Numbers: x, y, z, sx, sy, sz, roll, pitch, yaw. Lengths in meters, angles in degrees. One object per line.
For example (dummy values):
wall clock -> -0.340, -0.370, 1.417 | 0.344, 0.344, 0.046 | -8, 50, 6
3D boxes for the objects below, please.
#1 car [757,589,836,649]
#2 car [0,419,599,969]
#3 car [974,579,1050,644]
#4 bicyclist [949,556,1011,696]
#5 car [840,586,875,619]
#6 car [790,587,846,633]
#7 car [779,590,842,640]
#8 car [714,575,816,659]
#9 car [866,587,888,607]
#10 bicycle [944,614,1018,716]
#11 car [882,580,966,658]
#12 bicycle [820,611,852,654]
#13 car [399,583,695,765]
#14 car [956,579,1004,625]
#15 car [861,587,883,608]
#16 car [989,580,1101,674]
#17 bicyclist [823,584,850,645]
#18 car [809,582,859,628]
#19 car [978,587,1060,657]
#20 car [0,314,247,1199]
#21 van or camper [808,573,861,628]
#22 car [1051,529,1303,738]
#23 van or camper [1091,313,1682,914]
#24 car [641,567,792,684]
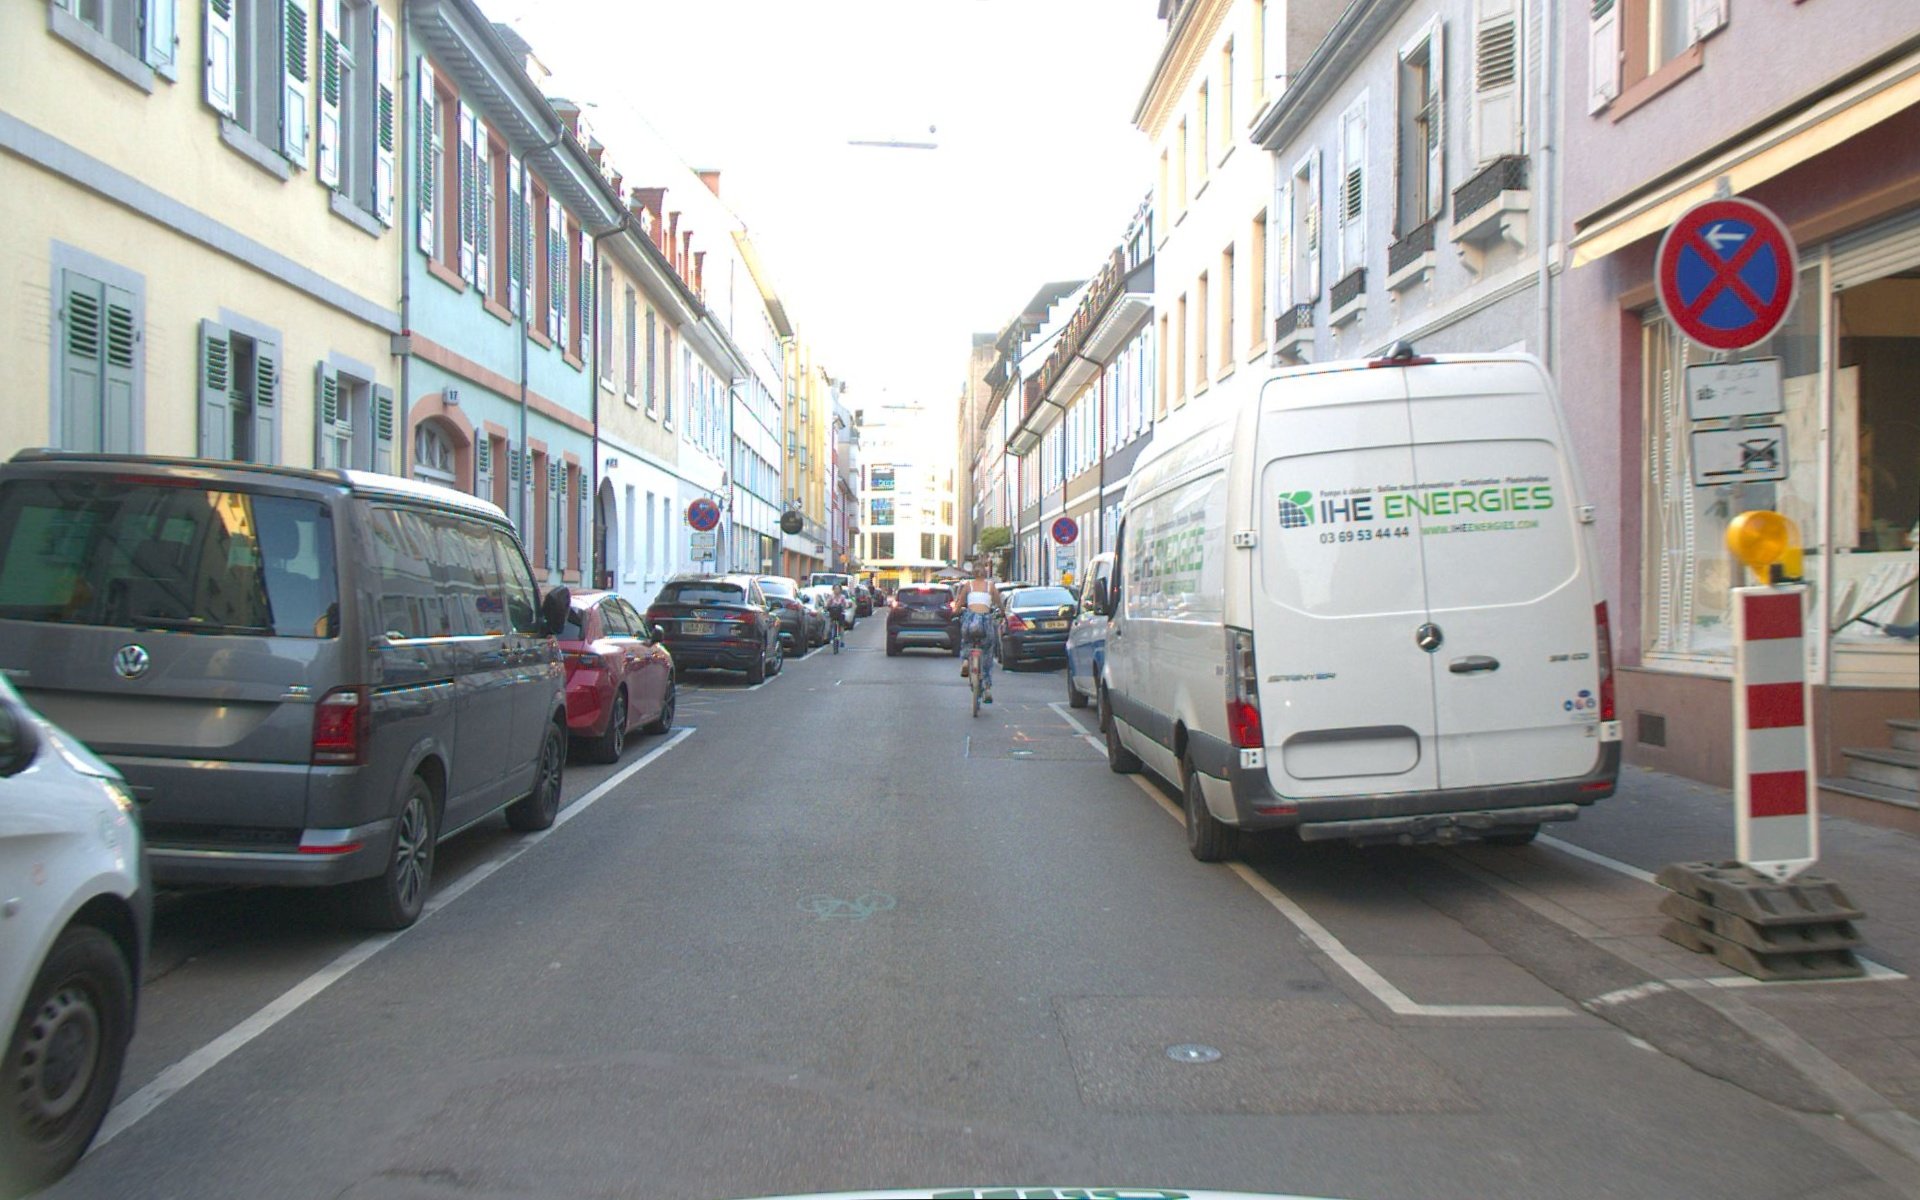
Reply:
car -> -4.293, 0.469, 44.046 | 1.880, 1.459, 4.291 | 2, 0, -3
car -> -3.203, 0.330, 8.599 | 1.825, 2.049, 4.811 | 0, 0, -3
car -> 1.487, 0.316, 48.907 | 1.880, 1.768, 4.151 | 2, 0, -3
bicyclist -> 0.230, 0.297, 19.246 | 0.609, 1.602, 0.682 | 1, 0, -8
car -> -5.123, 0.109, 83.019 | 1.620, 1.588, 3.604 | 2, 0, -2
car -> -4.731, 0.317, 55.519 | 1.620, 1.435, 3.604 | 2, 0, -2
car -> -4.529, 0.433, 50.434 | 1.620, 1.435, 3.901 | 2, 0, -2
car -> -4.344, 0.358, 37.511 | 1.958, 1.737, 4.533 | 2, 0, -3
car -> -6.764, -0.240, 135.121 | 1.620, 1.588, 3.604 | 2, 0, -2
bicycle -> 0.225, 0.732, 19.249 | 0.602, 1.101, 1.806 | 1, 0, -8
car -> -0.845, 0.399, 37.756 | 1.783, 1.646, 3.998 | 2, 0, -2
bicycle -> -2.894, 0.746, 38.685 | 0.601, 0.948, 1.886 | 1, 0, 0
car -> -3.618, 0.576, 15.276 | 1.729, 1.426, 4.262 | 1, 0, -1
car -> 0.708, 0.058, 60.909 | 1.620, 1.588, 3.604 | 2, 0, -2
car -> -6.811, -0.213, 128.305 | 1.620, 1.588, 3.604 | 2, 0, -2
car -> 1.548, 0.460, 31.713 | 1.782, 1.556, 5.071 | -3, 0, 0
bicyclist -> -2.895, 0.337, 38.846 | 0.593, 1.393, 0.621 | 1, 0, -1
car -> -4.588, 0.173, 60.504 | 1.620, 1.588, 3.604 | 2, 0, -2
car -> 1.332, 0.475, 38.799 | 1.642, 1.512, 3.999 | 2, 0, -2
car -> -2.899, 0.425, 2.312 | 1.825, 2.049, 5.103 | 0, 0, -3
van or camper -> -4.996, 0.004, 66.233 | 1.807, 2.048, 4.677 | 2, 0, -2
car -> 2.262, 0.321, 18.781 | 1.902, 1.927, 5.315 | -3, 0, -2
van or camper -> 2.194, 0.032, 10.943 | 2.008, 2.683, 7.061 | 0, 0, -1
car -> -3.790, 0.362, 26.429 | 1.766, 1.706, 4.489 | 0, 0, 0
